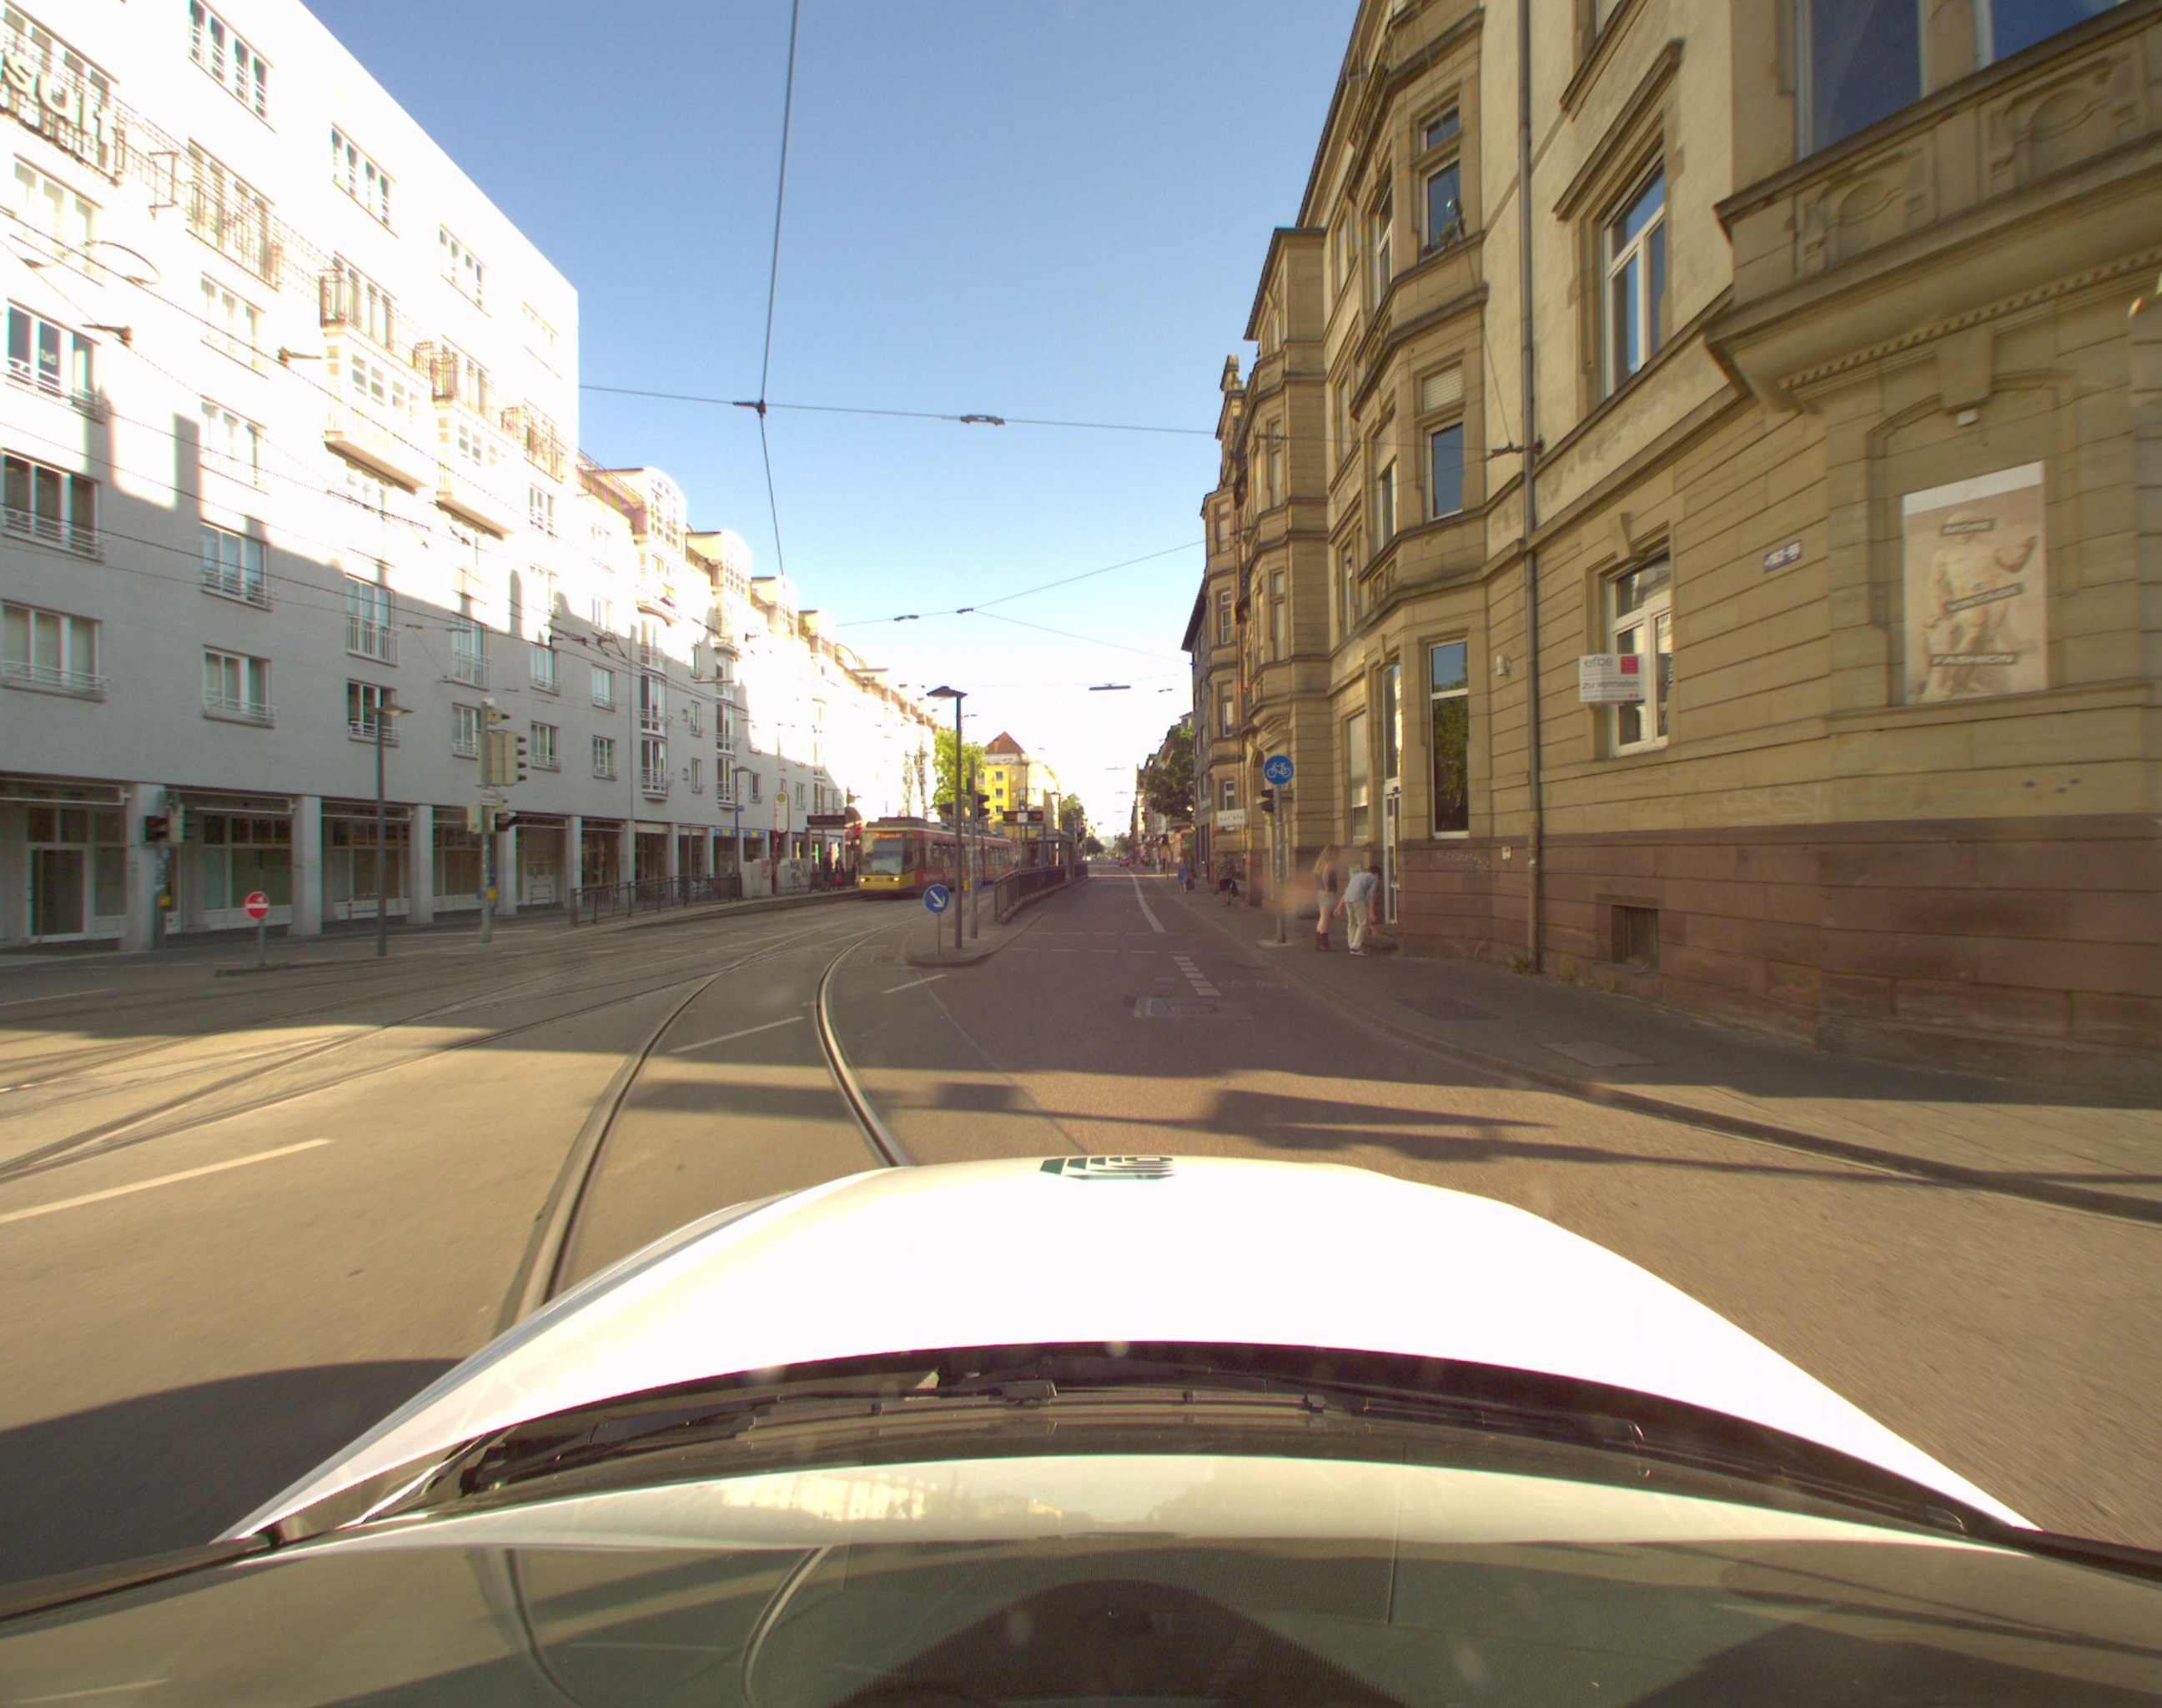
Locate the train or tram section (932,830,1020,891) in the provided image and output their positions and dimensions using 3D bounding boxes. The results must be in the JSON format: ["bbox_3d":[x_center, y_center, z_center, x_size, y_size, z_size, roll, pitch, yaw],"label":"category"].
[{"bbox_3d":[-6.565,0.410,54.049,2.872,3.490,14.965,-1,0,4],"label":"train or tram section"}]

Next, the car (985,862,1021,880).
[{"bbox_3d":[-11.555,2.518,121.203,5.084,2.576,2.130,0,0,3],"label":"car"}]

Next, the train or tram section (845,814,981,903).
[{"bbox_3d":[-7.539,0.213,39.431,2.873,3.490,14.179,-1,0,3],"label":"train or tram section"}]

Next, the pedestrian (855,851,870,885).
[{"bbox_3d":[-10.942,0.717,40.777,0.698,1.691,0.667,0,-1,-21],"label":"pedestrian"}]

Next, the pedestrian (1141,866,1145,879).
[{"bbox_3d":[8.544,2.588,112.266,0.556,1.796,0.652,-1,-1,9],"label":"pedestrian"}]

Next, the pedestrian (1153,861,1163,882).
[{"bbox_3d":[6.720,1.523,71.165,0.711,1.774,0.773,-4,0,-1],"label":"pedestrian"}]

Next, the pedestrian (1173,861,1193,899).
[{"bbox_3d":[4.485,1.137,35.879,0.759,1.645,0.833,-3,0,2],"label":"pedestrian"}]

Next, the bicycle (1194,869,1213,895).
[{"bbox_3d":[6.109,1.390,40.633,0.621,1.198,1.908,-4,0,1],"label":"bicycle"}]

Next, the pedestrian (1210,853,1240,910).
[{"bbox_3d":[4.835,0.907,27.355,0.798,1.824,0.798,-3,0,2],"label":"pedestrian"}]

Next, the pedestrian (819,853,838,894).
[{"bbox_3d":[-10.751,0.825,34.696,0.596,1.691,0.614,-1,-1,2],"label":"pedestrian"}]

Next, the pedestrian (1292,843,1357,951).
[{"bbox_3d":[4.025,0.700,13.491,0.791,1.721,0.719,-2,-2,0],"label":"pedestrian"}]

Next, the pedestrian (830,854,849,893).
[{"bbox_3d":[-10.883,0.855,36.669,0.756,1.733,0.523,-2,-1,44],"label":"pedestrian"}]

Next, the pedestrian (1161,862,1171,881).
[{"bbox_3d":[7.458,1.542,71.339,0.711,1.602,0.773,-4,0,-1],"label":"pedestrian"}]

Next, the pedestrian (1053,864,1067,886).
[{"bbox_3d":[-1.143,1.120,44.025,0.682,1.176,0.537,-1,0,3],"label":"pedestrian"}]

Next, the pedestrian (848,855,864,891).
[{"bbox_3d":[-10.759,0.886,38.959,0.698,1.691,0.667,0,-1,-21],"label":"pedestrian"}]

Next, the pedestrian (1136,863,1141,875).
[{"bbox_3d":[9.293,2.493,131.411,0.840,1.918,0.661,-1,-1,0],"label":"pedestrian"}]

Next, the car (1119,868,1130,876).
[{"bbox_3d":[8.093,3.359,150.883,1.986,1.449,4.002,0,0,2],"label":"car"}]

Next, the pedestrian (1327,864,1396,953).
[{"bbox_3d":[4.390,0.837,12.795,0.791,1.331,0.719,-2,-2,0],"label":"pedestrian"}]
